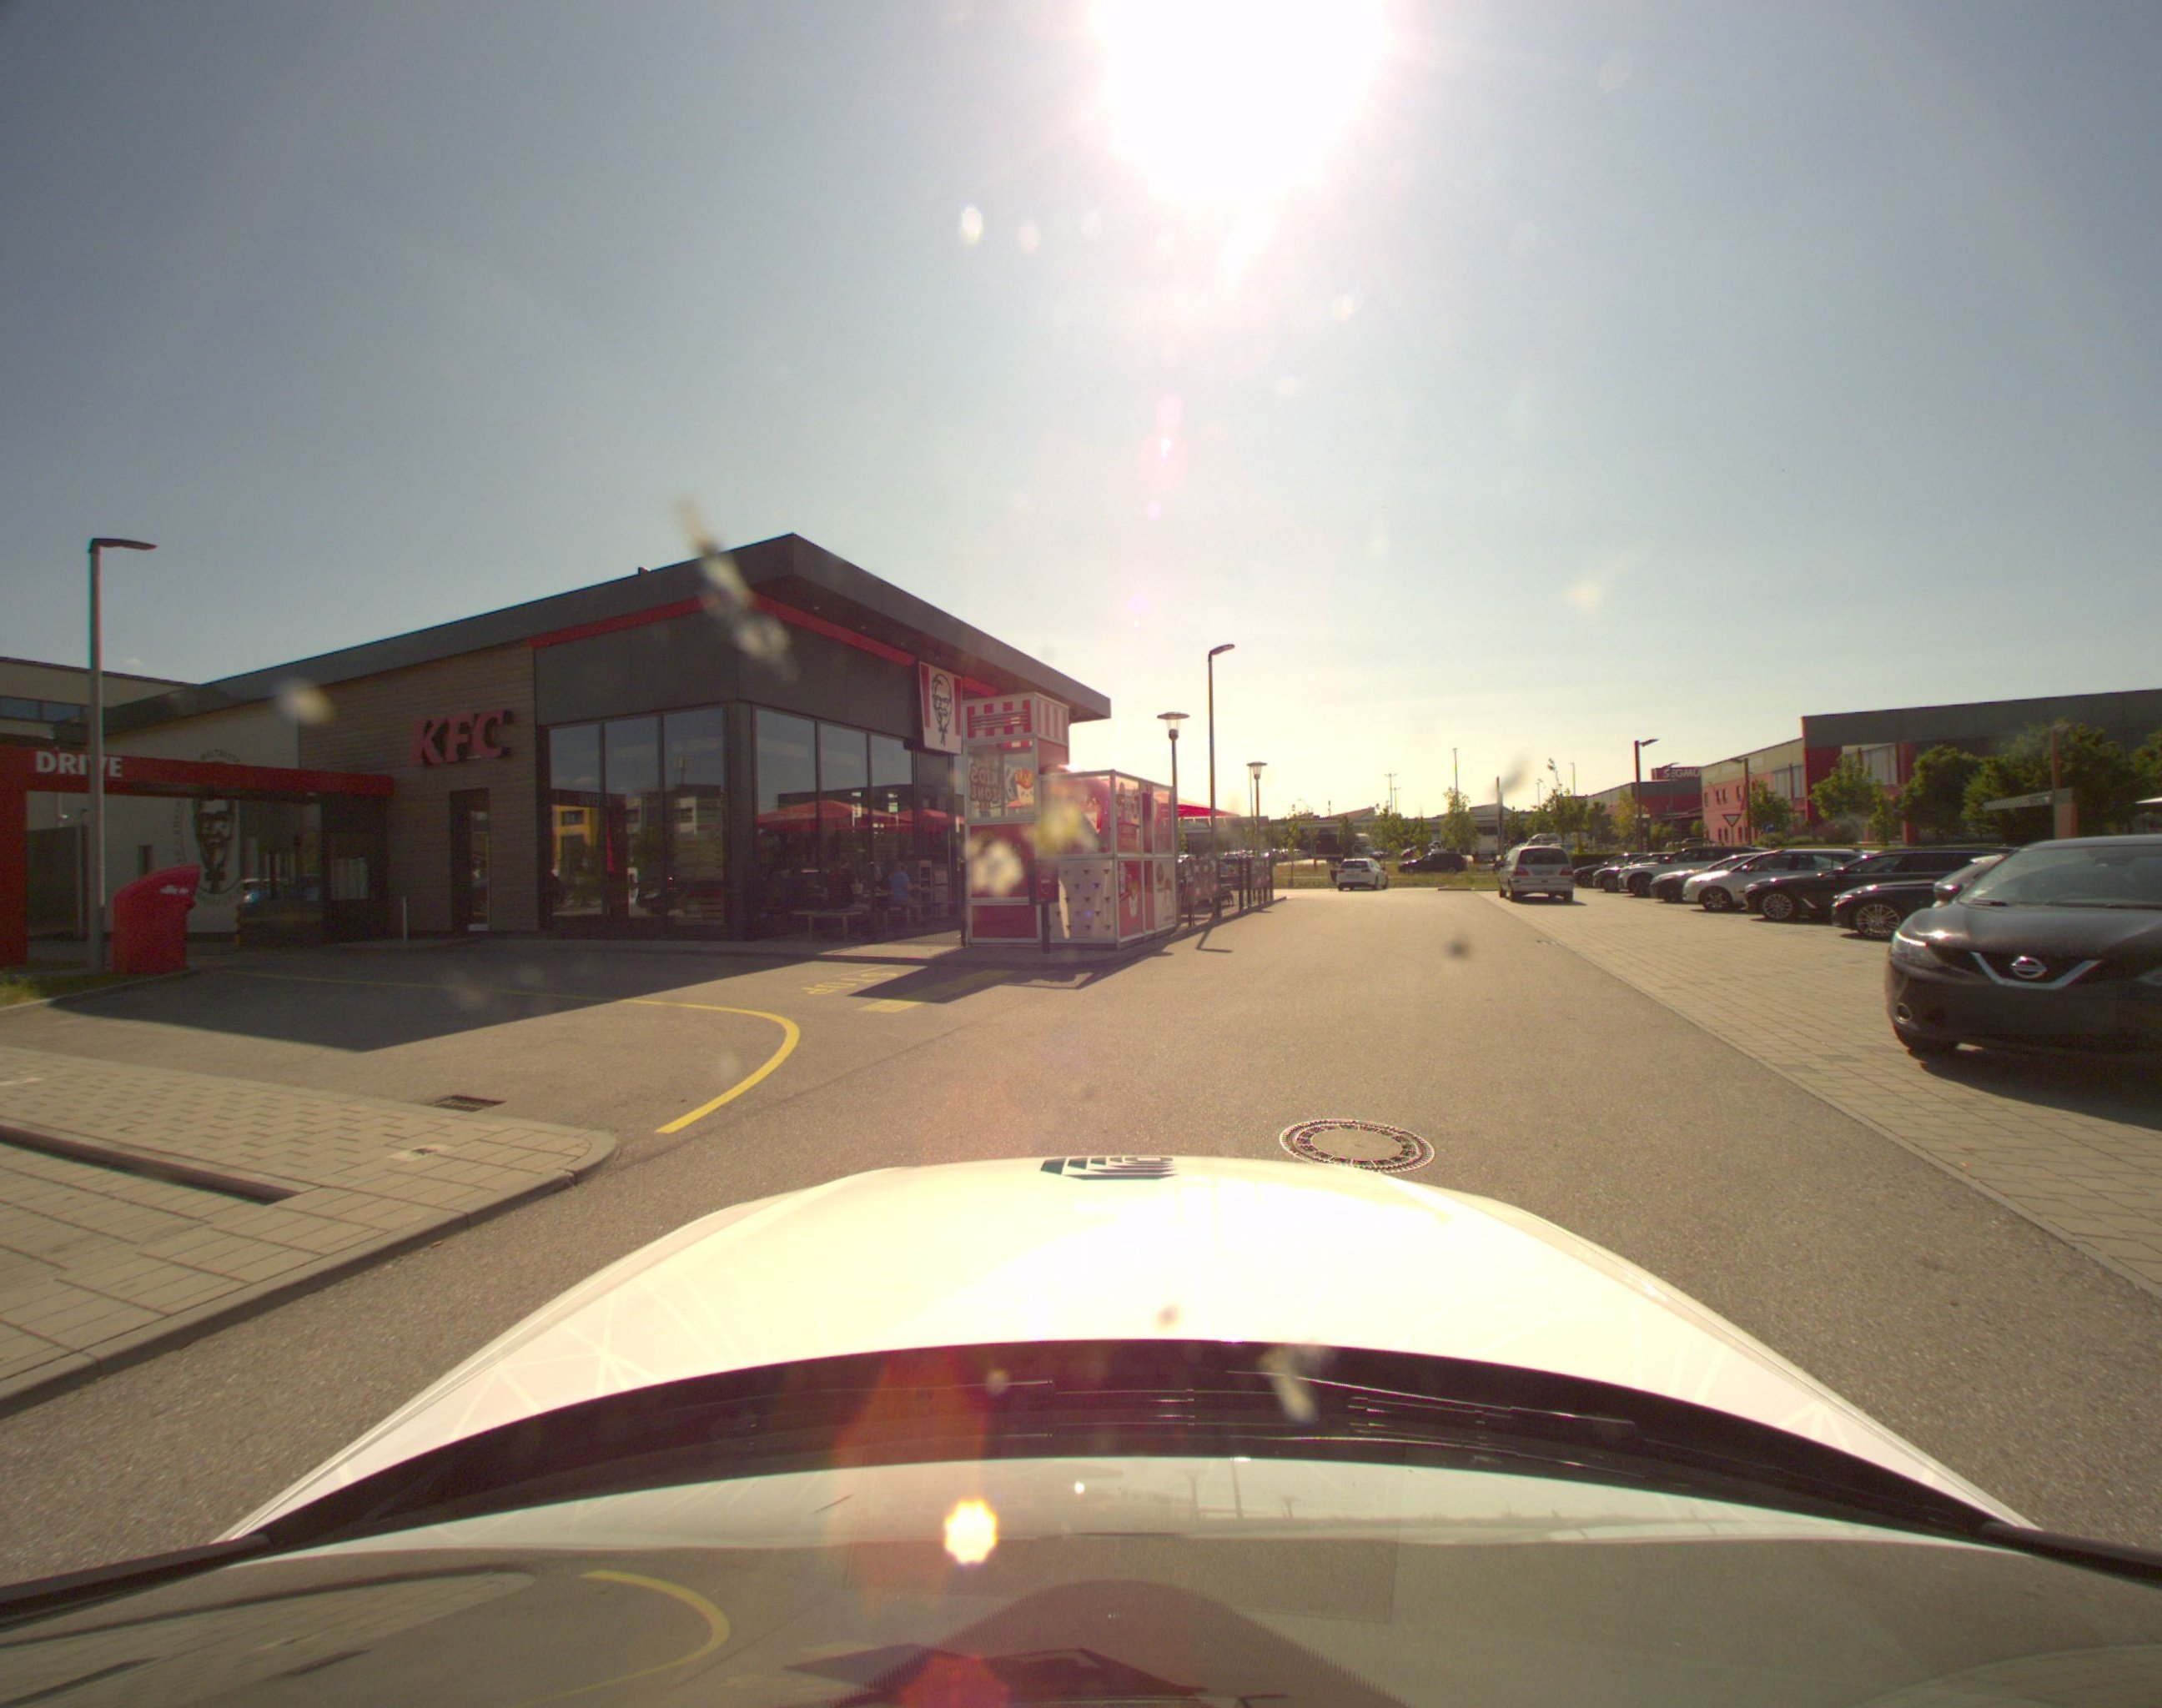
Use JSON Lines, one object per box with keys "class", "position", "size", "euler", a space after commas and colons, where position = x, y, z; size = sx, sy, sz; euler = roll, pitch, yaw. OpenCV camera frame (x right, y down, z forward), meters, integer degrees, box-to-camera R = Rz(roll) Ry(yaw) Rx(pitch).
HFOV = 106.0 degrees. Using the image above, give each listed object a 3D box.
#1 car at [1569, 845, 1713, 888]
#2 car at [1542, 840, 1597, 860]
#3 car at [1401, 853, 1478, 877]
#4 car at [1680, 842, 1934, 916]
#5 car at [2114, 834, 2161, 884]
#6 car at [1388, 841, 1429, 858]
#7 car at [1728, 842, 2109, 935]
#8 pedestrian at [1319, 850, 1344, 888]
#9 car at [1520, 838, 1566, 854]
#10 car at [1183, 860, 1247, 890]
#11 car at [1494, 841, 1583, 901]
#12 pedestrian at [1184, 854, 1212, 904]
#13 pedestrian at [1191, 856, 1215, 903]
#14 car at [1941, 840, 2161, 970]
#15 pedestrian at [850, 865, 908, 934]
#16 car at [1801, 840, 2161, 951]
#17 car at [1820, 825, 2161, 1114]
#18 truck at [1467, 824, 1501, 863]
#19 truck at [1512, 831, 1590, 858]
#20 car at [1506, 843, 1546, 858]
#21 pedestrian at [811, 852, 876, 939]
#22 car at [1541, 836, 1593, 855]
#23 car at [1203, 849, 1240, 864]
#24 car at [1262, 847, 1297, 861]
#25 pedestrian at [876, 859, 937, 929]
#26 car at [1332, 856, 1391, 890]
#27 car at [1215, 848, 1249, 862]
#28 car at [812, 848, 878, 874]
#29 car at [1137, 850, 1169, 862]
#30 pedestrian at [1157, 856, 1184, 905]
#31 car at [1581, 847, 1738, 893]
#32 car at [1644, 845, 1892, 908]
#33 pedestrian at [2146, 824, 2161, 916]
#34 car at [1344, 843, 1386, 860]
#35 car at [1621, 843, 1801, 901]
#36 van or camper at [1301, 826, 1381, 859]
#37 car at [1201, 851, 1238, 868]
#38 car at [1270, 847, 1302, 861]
{"class": "car", "position": [22.170, 0.474, 32.432], "size": [1.978, 1.526, 4.298], "euler": [-1, 0, -24]}
{"class": "car", "position": [48.008, -0.364, 80.155], "size": [4.352, 1.855, 1.966], "euler": [-1, 0, 21]}
{"class": "car", "position": [26.875, 0.834, 61.091], "size": [5.159, 1.731, 2.001], "euler": [-1, 0, 25]}
{"class": "car", "position": [16.875, 0.537, 19.101], "size": [1.985, 1.526, 4.158], "euler": [-1, 0, -39]}
{"class": "car", "position": [38.499, 0.115, 27.421], "size": [4.189, 1.691, 2.006], "euler": [-1, 0, 17]}
{"class": "car", "position": [37.024, -0.539, 92.188], "size": [4.217, 1.855, 1.880], "euler": [-1, 0, 21]}
{"class": "car", "position": [15.762, 0.572, 15.706], "size": [1.979, 1.486, 4.742], "euler": [-1, 0, -26]}
{"class": "pedestrian", "position": [12.073, 0.746, 39.256], "size": [0.982, 1.809, 0.730], "euler": [-2, -2, 25]}
{"class": "car", "position": [53.520, -0.916, 94.347], "size": [4.352, 1.855, 1.966], "euler": [-1, 0, 21]}
{"class": "car", "position": [6.982, 1.084, 41.969], "size": [1.810, 1.469, 4.380], "euler": [-2, -2, 30]}
{"class": "car", "position": [14.738, 0.525, 26.470], "size": [1.811, 1.748, 4.707], "euler": [-2, -1, 21]}
{"class": "pedestrian", "position": [3.078, 0.648, 21.549], "size": [0.680, 1.273, 0.843], "euler": [-1, 0, 5]}
{"class": "pedestrian", "position": [3.331, 0.692, 22.277], "size": [0.609, 1.273, 0.625], "euler": [-1, 0, 5]}
{"class": "car", "position": [13.171, 0.560, 9.106], "size": [1.840, 1.459, 4.545], "euler": [-1, 0, -26]}
{"class": "pedestrian", "position": [-3.666, 0.818, 14.814], "size": [0.745, 1.200, 0.698], "euler": [-1, 0, 22]}
{"class": "car", "position": [14.255, 0.552, 12.581], "size": [1.841, 1.459, 4.330], "euler": [-1, 0, -28]}
{"class": "car", "position": [7.734, 0.594, 5.896], "size": [4.307, 1.591, 1.843], "euler": [-2, 0, -22]}
{"class": "truck", "position": [38.142, -0.973, 76.967], "size": [2.734, 3.480, 6.873], "euler": [-1, 0, 27]}
{"class": "truck", "position": [50.488, -1.007, 87.688], "size": [6.974, 2.814, 1.966], "euler": [-1, 0, 21]}
{"class": "car", "position": [57.861, -0.453, 105.895], "size": [4.352, 1.855, 1.966], "euler": [-1, 0, 21]}
{"class": "pedestrian", "position": [-4.087, 0.701, 14.026], "size": [0.789, 1.443, 0.697], "euler": [-1, 0, 20]}
{"class": "car", "position": [50.532, -0.893, 84.727], "size": [4.352, 1.855, 1.966], "euler": [-1, 0, 21]}
{"class": "car", "position": [18.269, 0.353, 106.017], "size": [4.352, 1.855, 1.966], "euler": [-1, 0, 21]}
{"class": "car", "position": [27.512, 0.032, 112.797], "size": [4.352, 1.855, 1.966], "euler": [-1, 0, 21]}
{"class": "pedestrian", "position": [-3.412, 0.761, 16.001], "size": [0.746, 1.312, 0.950], "euler": [-1, 0, 22]}
{"class": "car", "position": [13.191, 0.872, 38.138], "size": [1.810, 1.469, 4.509], "euler": [-2, -2, 30]}
{"class": "car", "position": [21.027, 0.134, 113.565], "size": [4.352, 1.855, 1.966], "euler": [-1, 0, 21]}
{"class": "car", "position": [-16.839, 0.511, 58.325], "size": [1.871, 1.703, 4.360], "euler": [-2, -1, 34]}
{"class": "car", "position": [11.057, 0.318, 125.641], "size": [4.519, 1.855, 1.966], "euler": [-1, 0, 21]}
{"class": "pedestrian", "position": [2.375, 0.706, 21.660], "size": [0.680, 1.273, 0.552], "euler": [-1, 0, 5]}
{"class": "car", "position": [20.727, 0.553, 29.327], "size": [1.982, 1.526, 4.165], "euler": [-1, 0, -31]}
{"class": "car", "position": [18.513, 0.558, 22.229], "size": [1.981, 1.526, 4.799], "euler": [-1, 0, -30]}
{"class": "pedestrian", "position": [21.909, 0.315, 16.118], "size": [0.760, 1.849, 0.839], "euler": [-1, -1, 35]}
{"class": "car", "position": [35.430, -0.336, 101.705], "size": [4.877, 2.013, 2.092], "euler": [-1, 0, 17]}
{"class": "car", "position": [19.844, 0.535, 25.793], "size": [1.985, 1.654, 4.158], "euler": [-1, 0, -39]}
{"class": "van or camper", "position": [26.493, -1.107, 83.445], "size": [2.429, 3.101, 7.968], "euler": [-1, 0, -35]}
{"class": "car", "position": [15.691, 0.575, 92.069], "size": [1.931, 1.855, 4.430], "euler": [-1, 0, 45]}
{"class": "car", "position": [29.813, 0.010, 118.339], "size": [4.352, 1.855, 1.966], "euler": [-1, 0, 21]}
